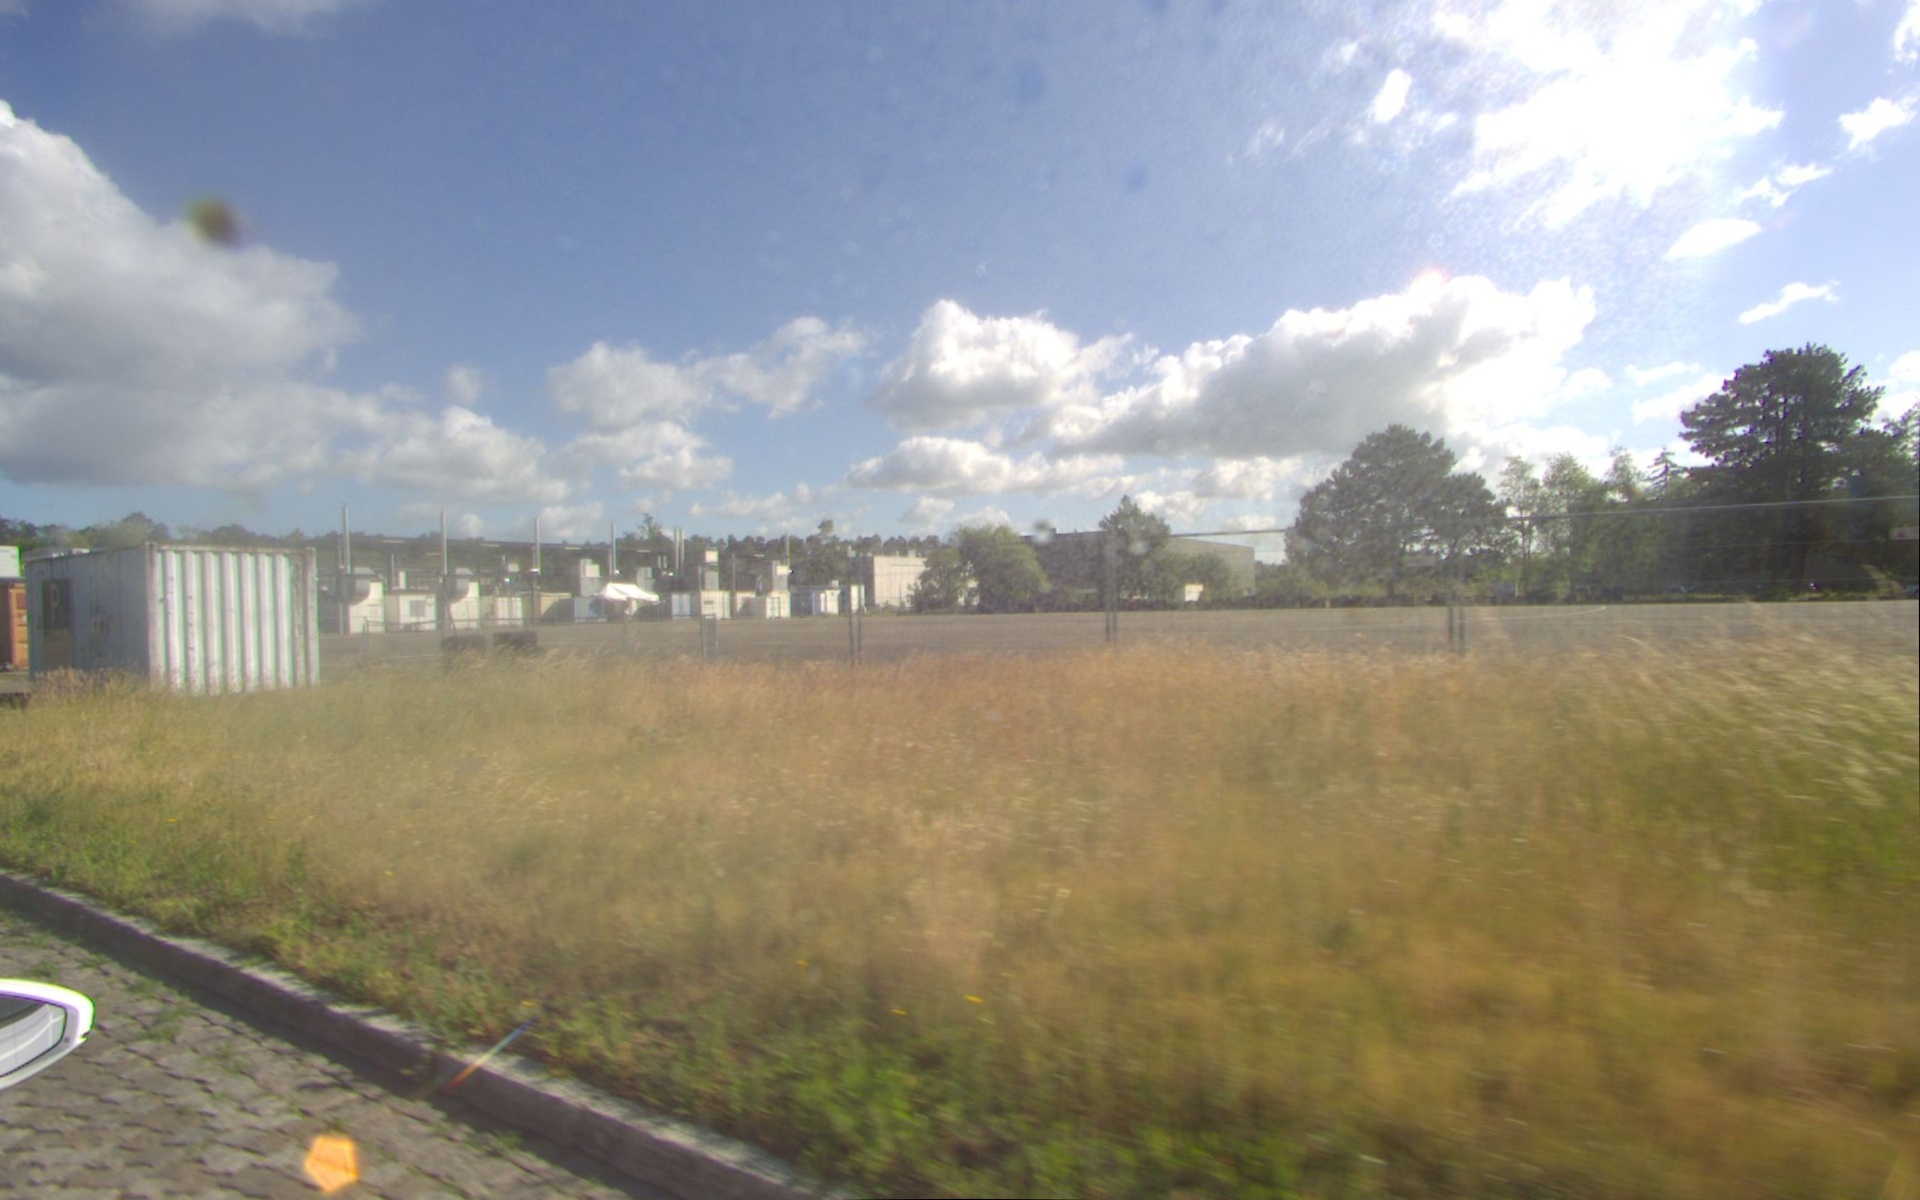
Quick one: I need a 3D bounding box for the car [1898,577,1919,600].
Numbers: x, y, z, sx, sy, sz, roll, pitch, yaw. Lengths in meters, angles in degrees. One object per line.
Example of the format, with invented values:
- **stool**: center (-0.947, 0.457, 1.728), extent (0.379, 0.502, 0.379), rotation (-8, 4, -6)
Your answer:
- **car**: center (69.071, -0.853, 70.548), extent (3.939, 1.603, 1.991), rotation (-1, 0, 29)
